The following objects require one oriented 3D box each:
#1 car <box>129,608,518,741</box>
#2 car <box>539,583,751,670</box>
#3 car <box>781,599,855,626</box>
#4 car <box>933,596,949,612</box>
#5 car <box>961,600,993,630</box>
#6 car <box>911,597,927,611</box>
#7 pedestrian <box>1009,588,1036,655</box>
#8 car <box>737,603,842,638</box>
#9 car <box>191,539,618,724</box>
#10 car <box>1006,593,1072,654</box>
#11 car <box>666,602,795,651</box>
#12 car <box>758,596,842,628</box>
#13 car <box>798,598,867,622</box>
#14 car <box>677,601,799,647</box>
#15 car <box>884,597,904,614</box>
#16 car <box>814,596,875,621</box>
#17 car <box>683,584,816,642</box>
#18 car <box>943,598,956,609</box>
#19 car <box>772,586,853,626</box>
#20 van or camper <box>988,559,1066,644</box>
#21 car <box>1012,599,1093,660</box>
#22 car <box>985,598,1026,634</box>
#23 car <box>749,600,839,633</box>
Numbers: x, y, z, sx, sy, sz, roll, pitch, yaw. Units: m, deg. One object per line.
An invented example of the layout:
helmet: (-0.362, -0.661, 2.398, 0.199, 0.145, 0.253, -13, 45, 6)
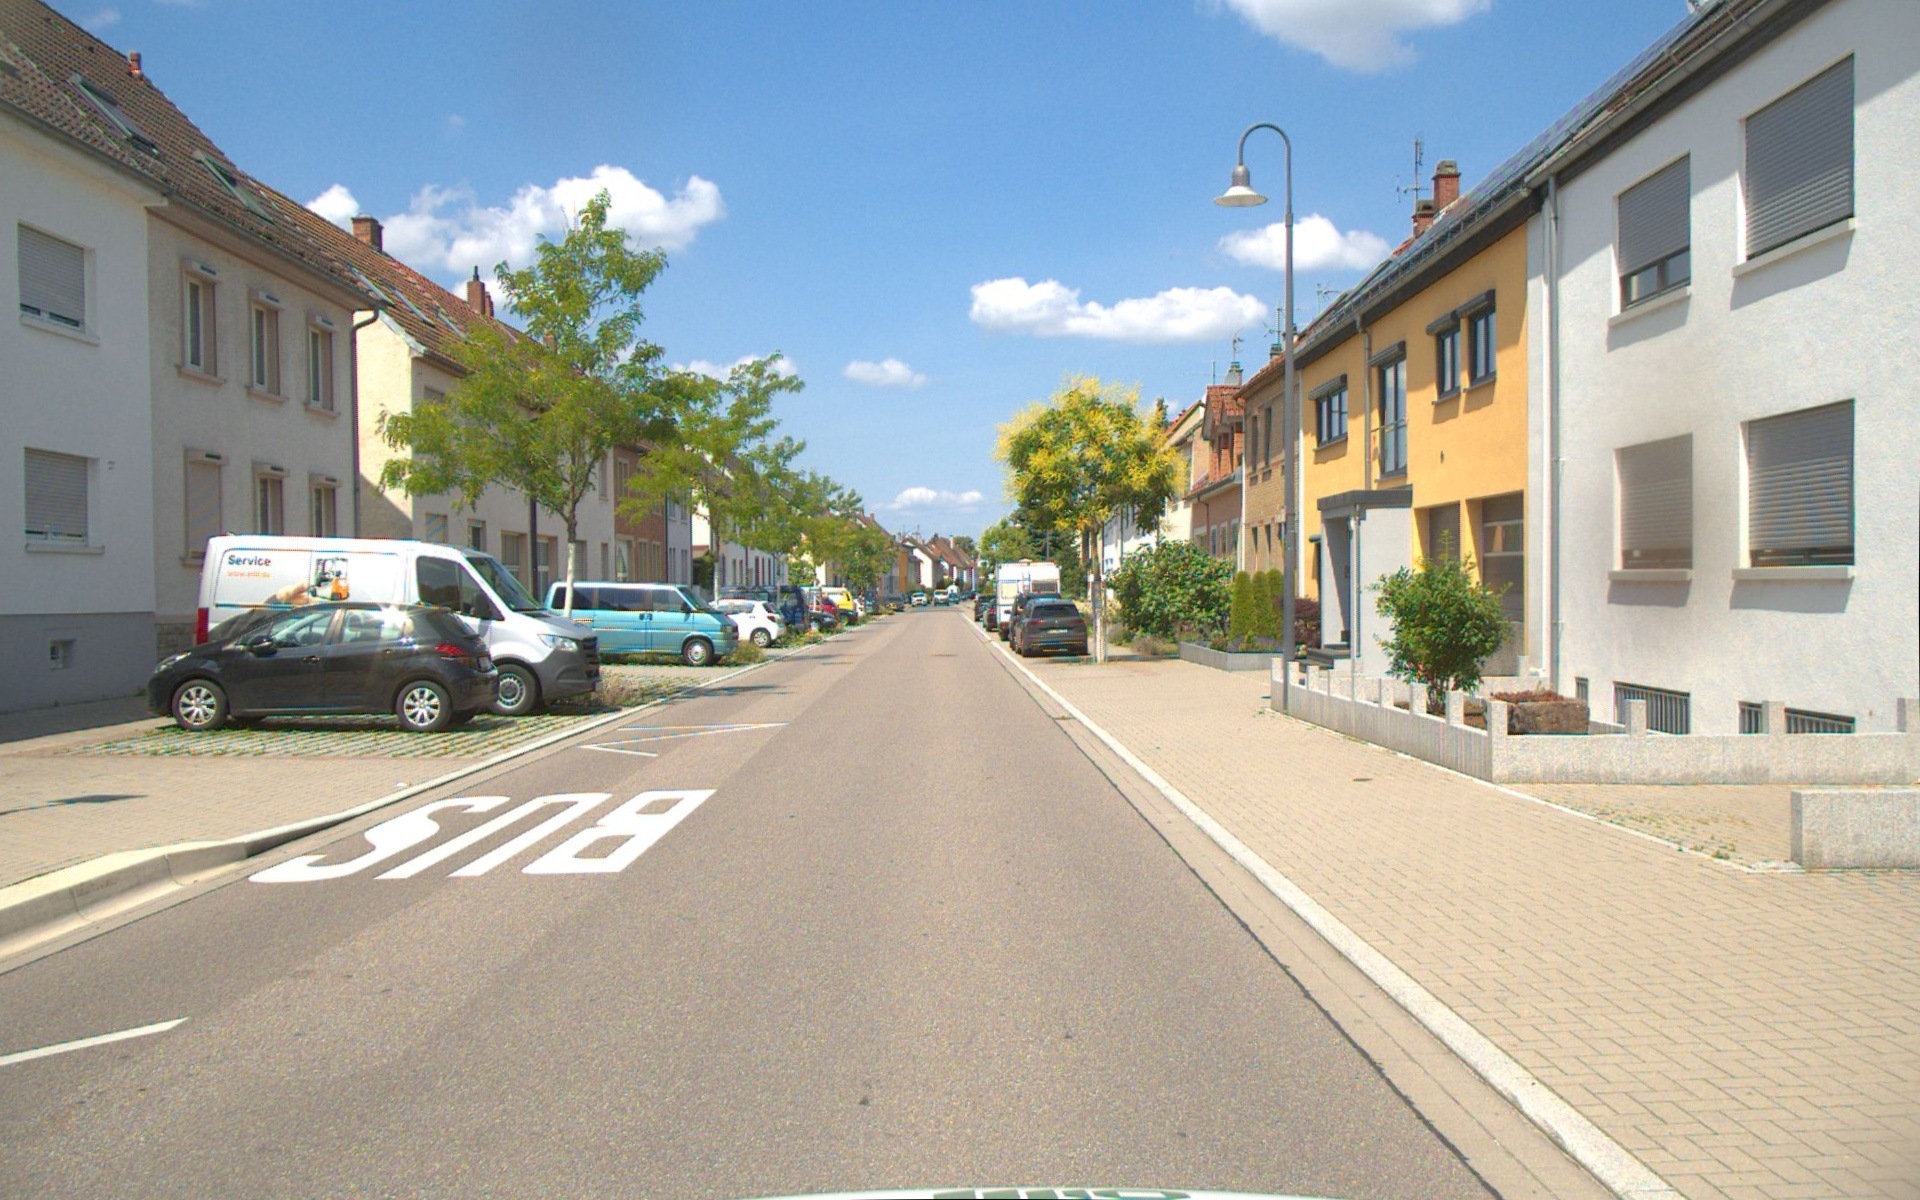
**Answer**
car: (-7.443, 0.844, 19.668, 3.907, 1.471, 1.900, 0, 0, -3)
car: (-7.356, 0.618, 38.945, 4.581, 1.940, 2.000, 1, -1, 0)
car: (-7.804, 0.684, 91.017, 3.928, 1.485, 1.755, 0, 0, -1)
car: (-2.427, 0.540, 208.578, 1.982, 1.984, 4.897, -1, -1, -1)
car: (1.086, 0.892, 101.931, 1.826, 1.664, 4.447, -3, 1, 2)
car: (-5.193, 0.511, 209.658, 1.811, 1.688, 4.001, 1, 0, 2)
pedestrian: (1.764, 0.610, 46.756, 0.702, 1.885, 0.578, 0, 0, 0)
car: (-7.439, 0.884, 72.460, 4.432, 1.450, 1.795, 0, 0, -1)
car: (-7.424, 0.416, 22.566, 5.063, 2.328, 2.156, 1, 0, -3)
car: (2.325, 0.672, 49.507, 1.730, 1.734, 4.324, 0, 0, 0)
car: (-7.305, 0.825, 52.806, 3.835, 1.514, 1.773, 0, 0, 1)
car: (-8.252, 0.610, 85.560, 4.167, 1.639, 1.842, 0, 0, -1)
car: (-8.155, 0.644, 106.017, 4.206, 1.493, 1.774, 0, -1, 1)
car: (-7.445, 0.788, 55.764, 3.835, 1.514, 1.773, 0, 0, 1)
car: (-6.414, 0.493, 160.732, 1.780, 1.458, 4.137, 3, 1, -3)
car: (-7.871, 0.597, 112.900, 4.100, 1.596, 1.772, 1, -1, -4)
car: (-7.611, 0.460, 60.075, 4.517, 2.031, 1.953, 0, 0, 1)
car: (-1.530, 0.474, 237.486, 1.727, 1.549, 4.048, -2, 0, -1)
car: (-8.295, 0.316, 93.470, 4.416, 2.215, 1.925, 0, 0, -1)
van or camper: (2.369, 0.028, 60.009, 2.423, 2.859, 5.789, -2, 0, -1)
car: (2.406, 0.741, 43.883, 1.731, 1.514, 4.294, 0, 0, -2)
car: (2.033, 0.693, 74.831, 1.730, 1.556, 4.007, 0, 0, 0)
car: (-7.598, 0.756, 75.967, 3.973, 1.504, 1.774, 0, 0, -3)
